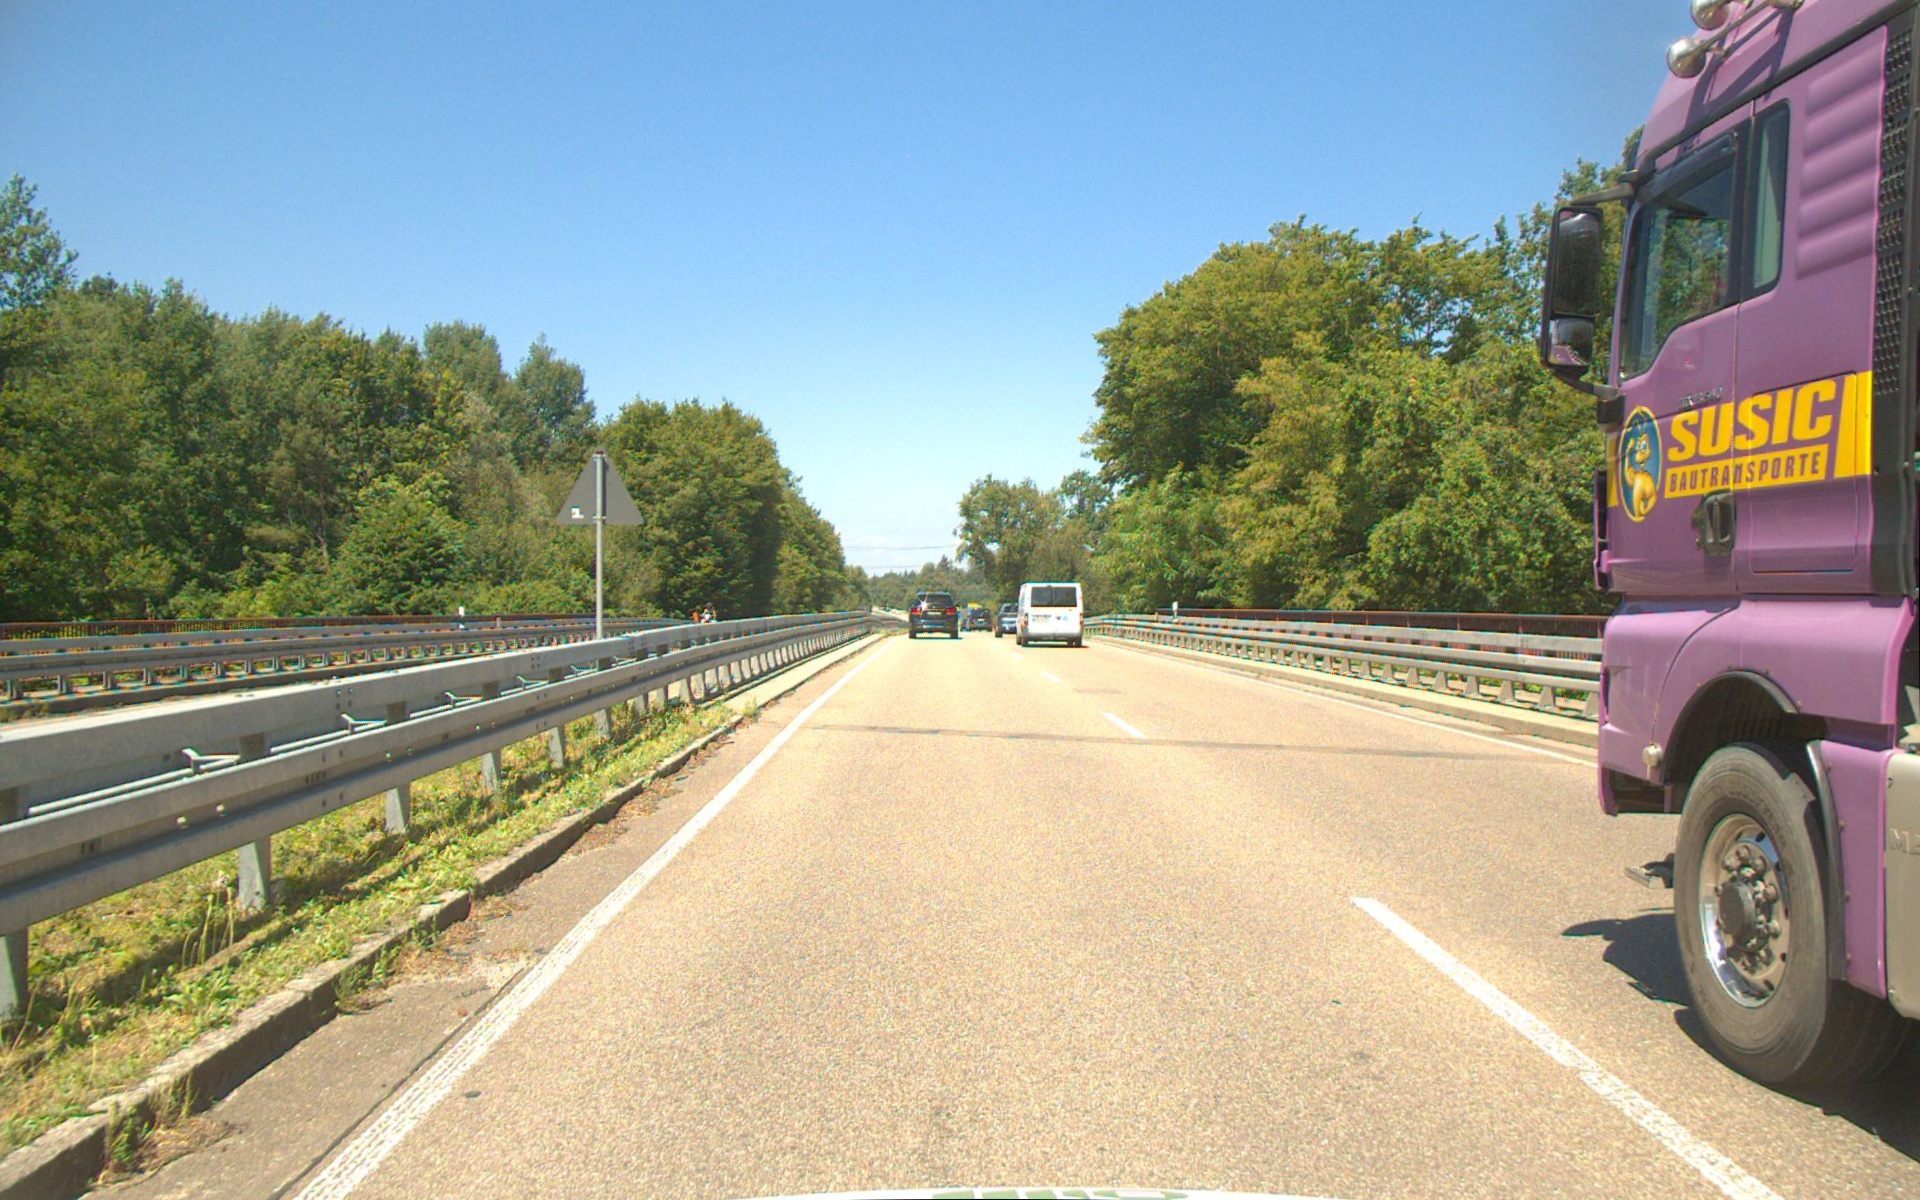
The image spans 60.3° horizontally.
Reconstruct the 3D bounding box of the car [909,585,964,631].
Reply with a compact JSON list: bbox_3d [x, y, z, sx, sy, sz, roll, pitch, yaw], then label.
[{"bbox_3d":[-0.950,0.299,64.095,1.954,1.683,3.998,-1,0,-3],"label":"car"}]

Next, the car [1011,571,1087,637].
[{"bbox_3d":[2.827,0.178,53.554,1.965,2.024,5.031,-1,-1,-2],"label":"car"}]

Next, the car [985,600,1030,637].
[{"bbox_3d":[2.128,0.815,74.414,1.749,1.580,4.017,-1,0,-2],"label":"car"}]

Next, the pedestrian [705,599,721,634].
[{"bbox_3d":[-10.926,0.725,73.084,0.602,1.567,0.494,-1,0,-1],"label":"pedestrian"}]

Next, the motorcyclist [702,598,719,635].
[{"bbox_3d":[-10.920,0.722,72.431,0.602,1.567,0.776,-1,0,-1],"label":"motorcyclist"}]

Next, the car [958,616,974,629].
[{"bbox_3d":[0.683,2.589,193.818,1.783,1.439,3.998,-2,0,-2],"label":"car"}]

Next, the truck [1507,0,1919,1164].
[{"bbox_3d":[3.742,-0.426,4.324,2.545,3.756,5.937,0,0,-1],"label":"truck"}]

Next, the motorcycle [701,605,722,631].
[{"bbox_3d":[-10.944,0.798,72.836,0.602,1.123,2.313,-1,0,0],"label":"motorcycle"}]

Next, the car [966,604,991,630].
[{"bbox_3d":[1.386,1.296,126.959,1.744,1.848,4.212,-2,0,-1],"label":"car"}]
